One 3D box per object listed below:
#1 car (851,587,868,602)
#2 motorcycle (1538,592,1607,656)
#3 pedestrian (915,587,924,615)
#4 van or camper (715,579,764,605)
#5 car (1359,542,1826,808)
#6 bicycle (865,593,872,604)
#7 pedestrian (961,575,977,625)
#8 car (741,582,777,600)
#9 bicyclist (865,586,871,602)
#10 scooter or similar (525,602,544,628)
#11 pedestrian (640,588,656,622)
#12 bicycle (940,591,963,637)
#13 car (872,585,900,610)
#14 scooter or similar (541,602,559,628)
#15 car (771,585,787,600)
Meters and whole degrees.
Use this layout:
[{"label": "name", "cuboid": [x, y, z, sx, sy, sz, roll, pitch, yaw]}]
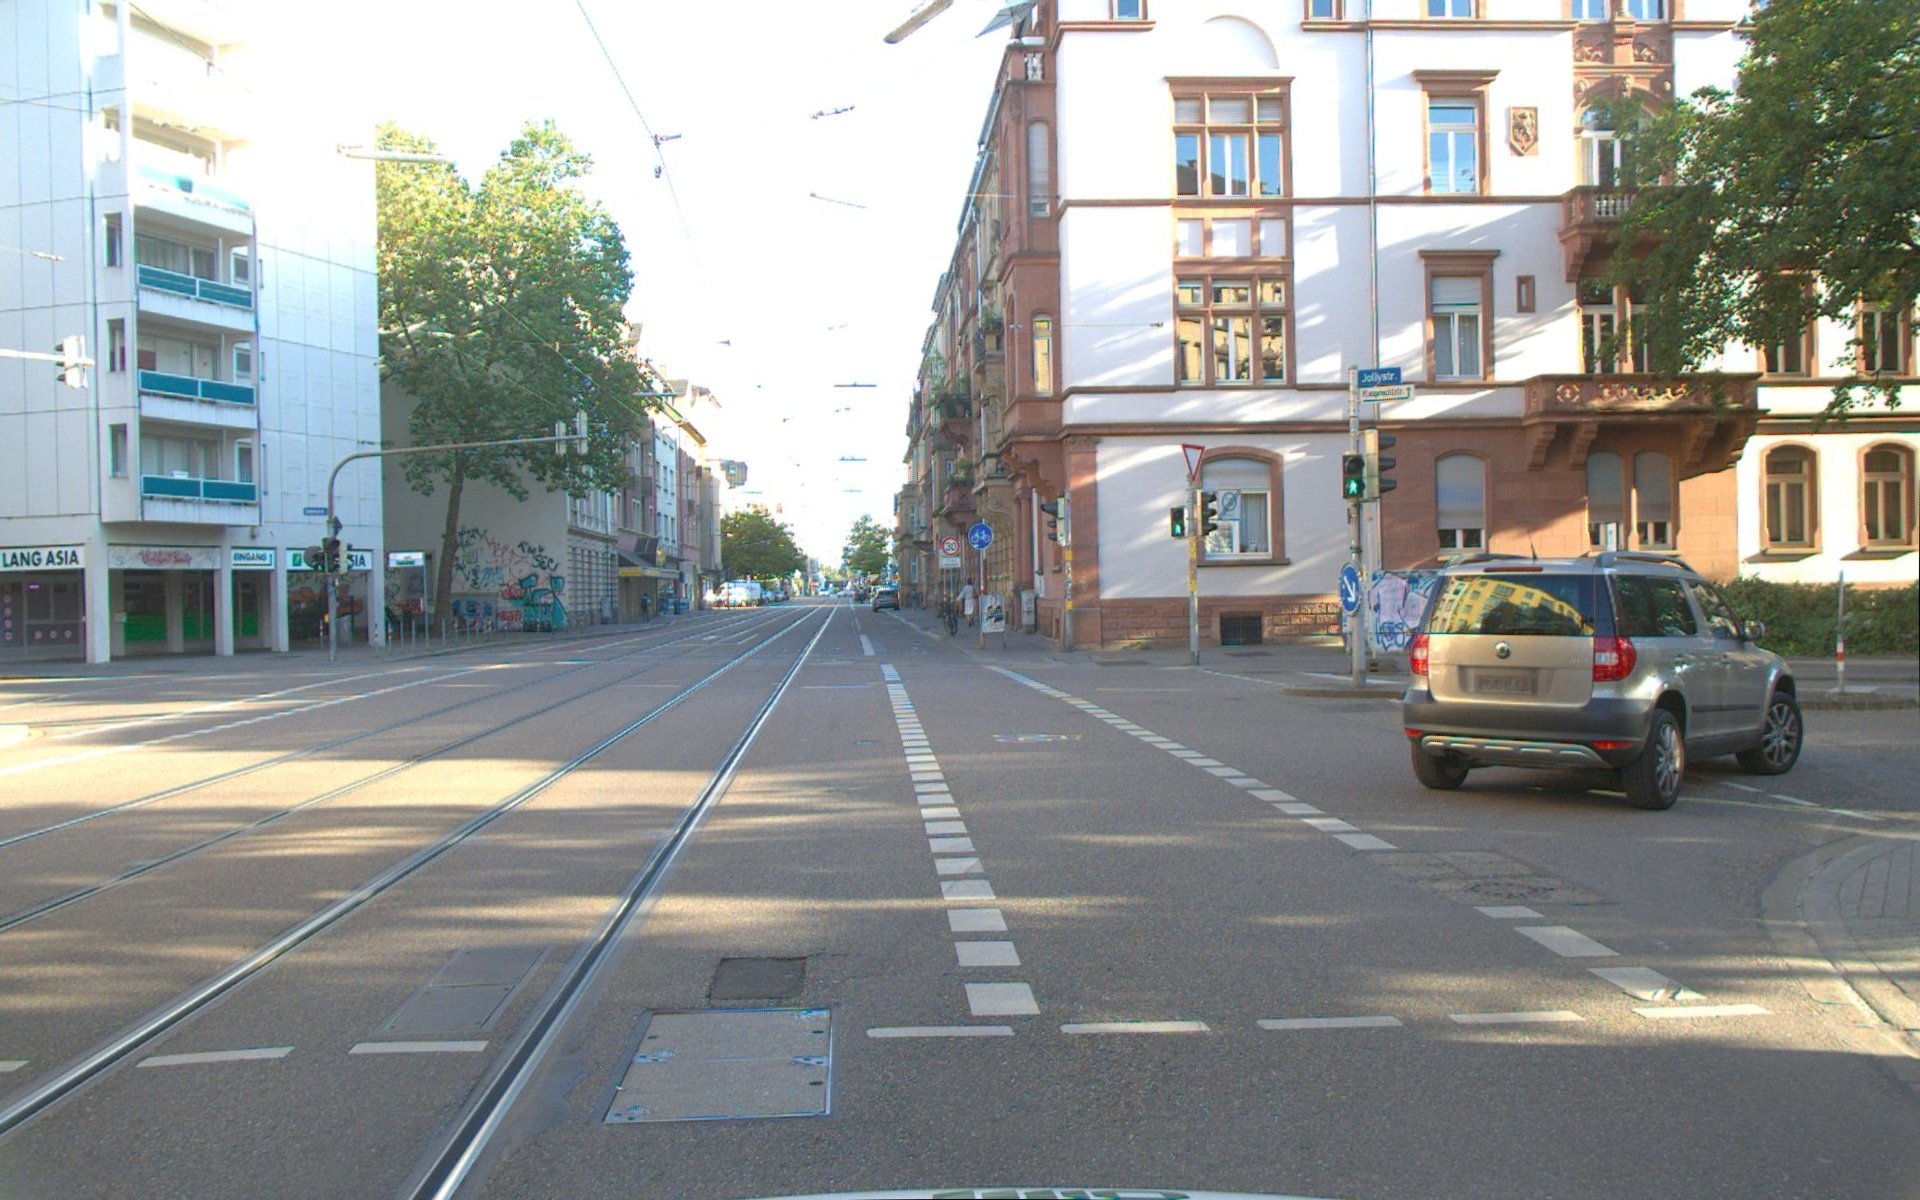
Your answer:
[{"label": "car", "cuboid": [-12.122, -0.646, 199.890, 1.954, 1.758, 3.996, -1, 0, -4]}, {"label": "motorcycle", "cuboid": [11.407, 0.422, 30.857, 0.704, 1.037, 2.289, -1, 3, 8]}, {"label": "pedestrian", "cuboid": [-2.691, 0.089, 108.551, 0.534, 1.811, 0.749, -1, 0, -3]}, {"label": "van or camper", "cuboid": [-22.509, -0.849, 168.899, 4.596, 2.608, 1.976, -1, 0, -35]}, {"label": "car", "cuboid": [4.853, 0.468, 12.388, 1.965, 1.646, 3.976, 2, 0, 42]}, {"label": "bicycle", "cuboid": [-8.900, -0.143, 160.817, 0.563, 1.048, 1.894, -1, 0, -3]}, {"label": "pedestrian", "cuboid": [0.320, 0.009, 60.406, 0.534, 1.811, 0.503, -1, 0, -3]}, {"label": "car", "cuboid": [-24.824, -1.122, 203.980, 3.943, 2.049, 1.981, -2, 0, -29]}, {"label": "bicyclist", "cuboid": [-8.913, -0.607, 160.810, 0.563, 1.581, 0.594, -1, 0, -3]}, {"label": "scooter or similar", "cuboid": [-18.005, 0.648, 70.004, 0.506, 1.064, 1.476, -1, 0, -6]}, {"label": "pedestrian", "cuboid": [-16.077, 0.257, 85.120, 0.687, 1.758, 0.647, -1, 0, -4]}, {"label": "bicycle", "cuboid": [-0.280, 0.413, 50.717, 0.640, 1.346, 2.176, -1, 0, -1]}, {"label": "car", "cuboid": [-5.365, -0.172, 119.835, 1.911, 1.713, 3.998, -1, 0, -3]}, {"label": "scooter or similar", "cuboid": [-17.368, 0.632, 70.085, 0.506, 1.076, 1.476, -1, 0, -6]}, {"label": "car", "cuboid": [-25.223, -1.021, 230.780, 1.954, 2.049, 3.996, -1, 0, -4]}]
